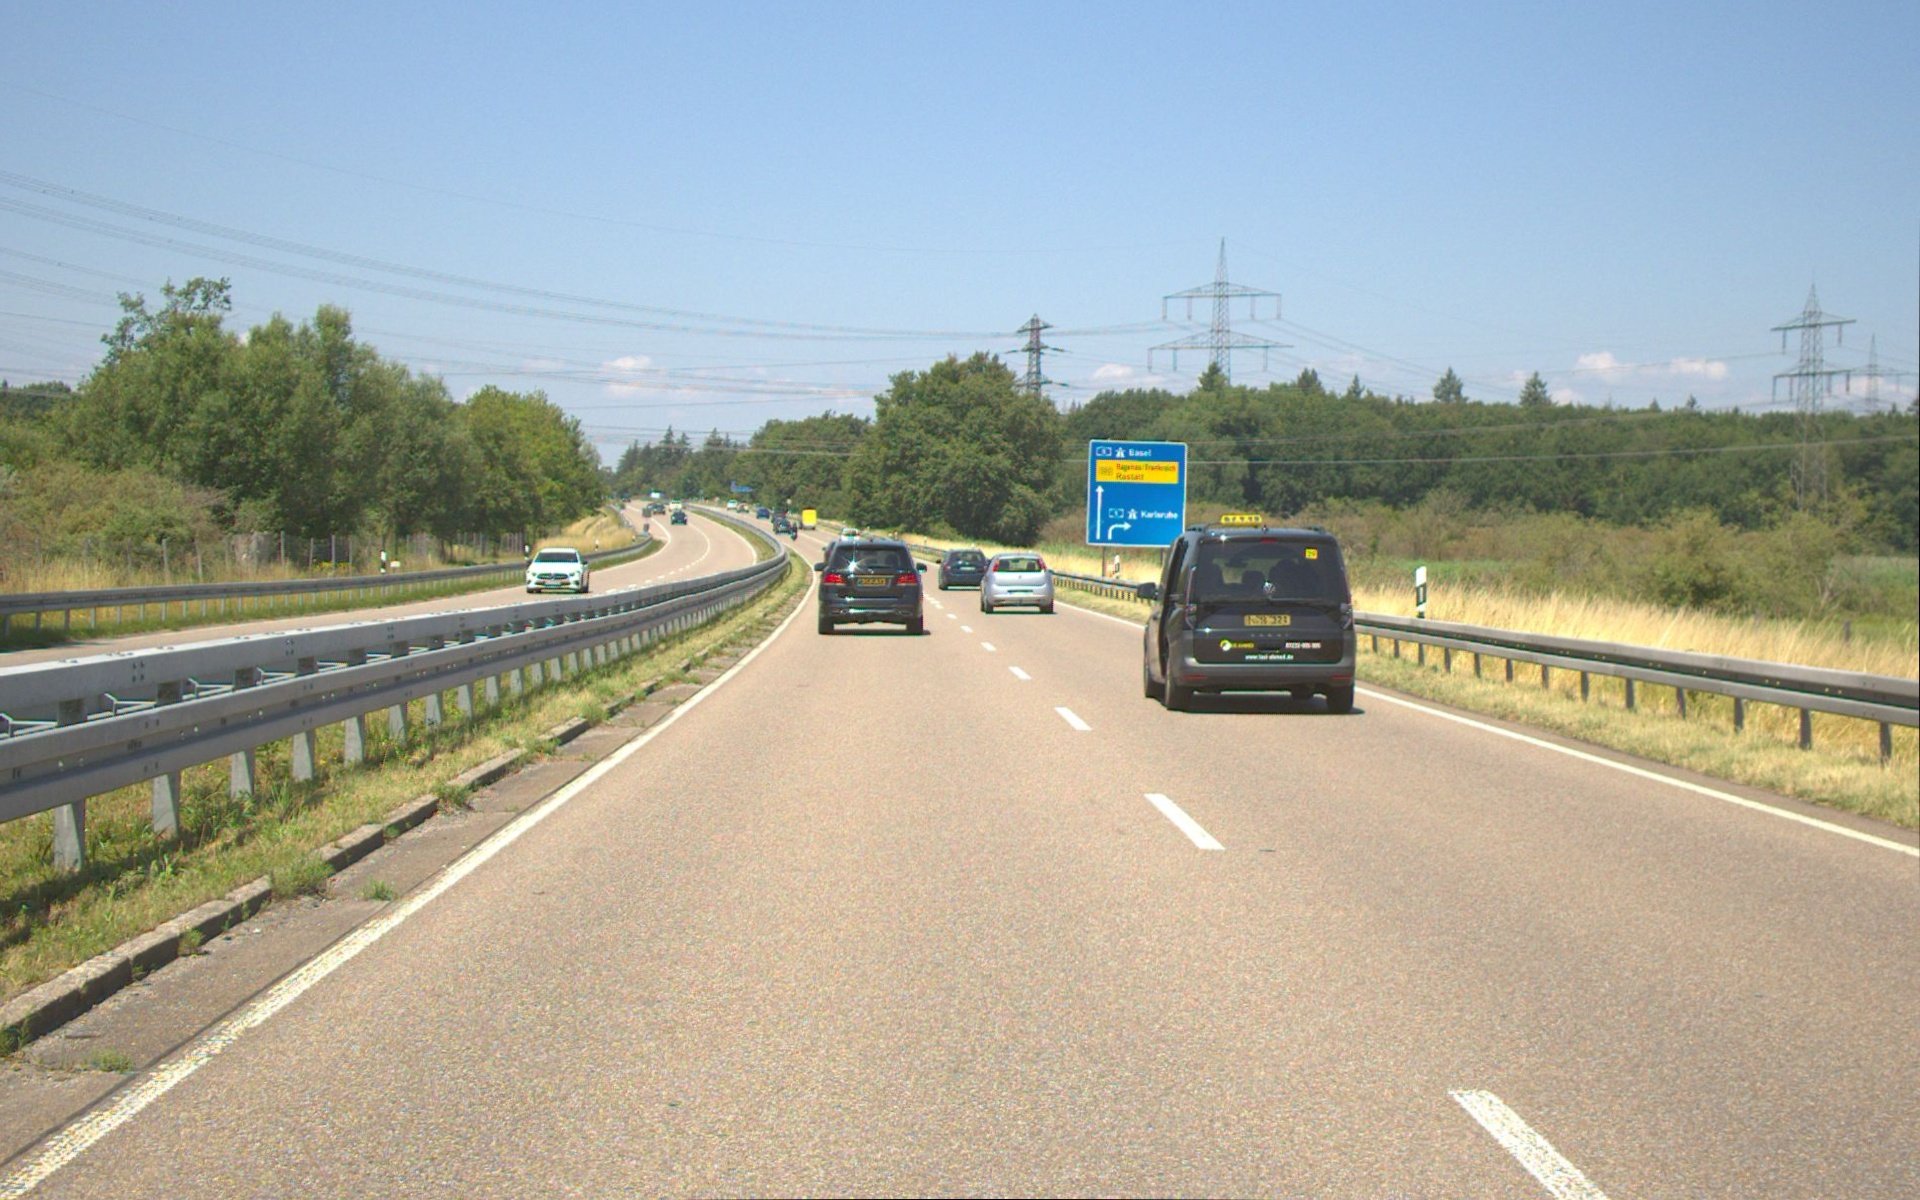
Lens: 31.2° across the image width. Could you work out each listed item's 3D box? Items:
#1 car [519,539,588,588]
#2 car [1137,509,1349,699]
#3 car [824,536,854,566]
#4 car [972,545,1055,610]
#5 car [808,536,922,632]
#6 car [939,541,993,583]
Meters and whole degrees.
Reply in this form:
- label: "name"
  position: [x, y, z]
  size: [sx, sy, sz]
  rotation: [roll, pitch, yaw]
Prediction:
- label: "car"
  position: [-13.216, -1.190, 111.911]
  size: [1.827, 1.492, 4.103]
  rotation: [2, 1, -2]
- label: "car"
  position: [2.838, -0.013, 35.282]
  size: [1.780, 1.810, 4.213]
  rotation: [1, 1, 0]
- label: "car"
  position: [-6.422, -2.590, 182.774]
  size: [1.514, 1.470, 3.066]
  rotation: [3, 1, -2]
- label: "car"
  position: [1.284, -0.576, 84.630]
  size: [1.779, 1.474, 4.316]
  rotation: [2, 1, -2]
- label: "car"
  position: [-1.780, -0.331, 63.880]
  size: [1.993, 1.649, 4.001]
  rotation: [2, 1, -2]
- label: "car"
  position: [0.198, -1.343, 121.290]
  size: [1.819, 1.409, 4.000]
  rotation: [0, 1, -1]
